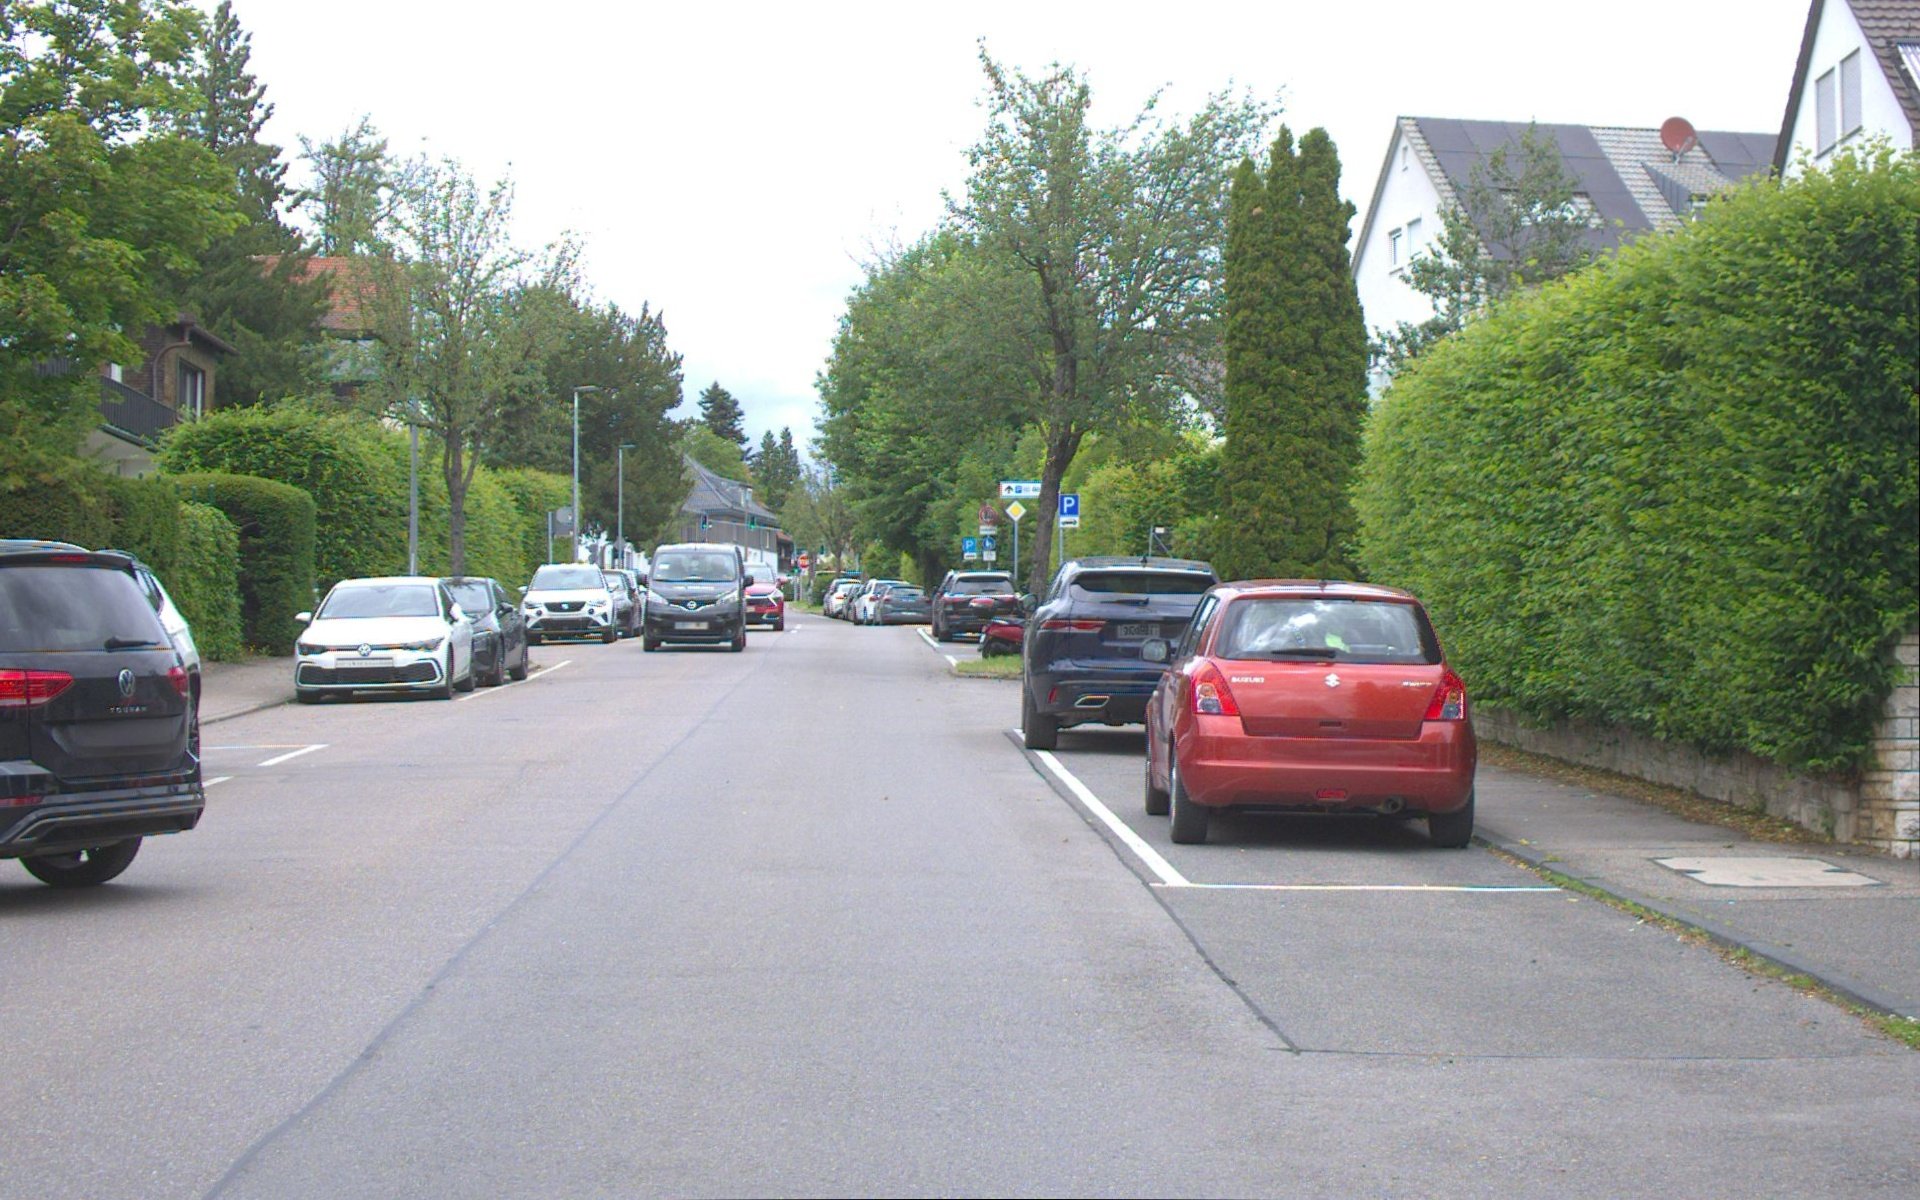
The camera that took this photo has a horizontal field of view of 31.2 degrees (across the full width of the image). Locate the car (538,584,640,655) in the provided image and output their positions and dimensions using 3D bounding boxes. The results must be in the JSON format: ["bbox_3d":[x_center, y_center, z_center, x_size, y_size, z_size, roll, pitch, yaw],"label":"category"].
[{"bbox_3d":[-7.697,0.425,71.587,1.762,1.383,4.000,-2,-1,-2],"label":"car"}]

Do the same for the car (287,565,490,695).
[{"bbox_3d":[-6.771,0.319,41.116,1.837,1.417,4.409,-1,1,-2],"label":"car"}]

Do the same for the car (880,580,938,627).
[{"bbox_3d":[-1.739,0.114,116.228,1.664,1.495,3.468,1,1,-6],"label":"car"}]

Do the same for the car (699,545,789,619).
[{"bbox_3d":[-5.097,-0.439,81.589,1.941,1.641,4.258,-2,1,-1],"label":"car"}]

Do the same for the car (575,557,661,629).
[{"bbox_3d":[-7.610,-0.176,76.766,1.630,1.518,3.638,-2,1,-2],"label":"car"}]

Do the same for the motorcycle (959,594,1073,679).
[{"bbox_3d":[0.903,0.577,55.190,1.863,1.342,0.599,0,1,-37],"label":"motorcycle"}]

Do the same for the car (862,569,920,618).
[{"bbox_3d":[-2.436,-0.243,120.671,1.713,1.652,3.623,1,1,-6],"label":"car"}]

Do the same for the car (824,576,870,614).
[{"bbox_3d":[-4.640,-0.210,140.638,1.664,1.495,3.468,1,1,-6],"label":"car"}]

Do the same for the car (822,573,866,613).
[{"bbox_3d":[-4.975,-0.300,147.364,1.664,1.662,3.468,1,1,-6],"label":"car"}]

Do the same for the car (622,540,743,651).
[{"bbox_3d":[-4.767,-0.099,59.562,1.885,1.844,4.402,-1,1,-2],"label":"car"}]

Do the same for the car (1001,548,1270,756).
[{"bbox_3d":[1.455,0.411,30.220,1.993,1.612,4.513,2,0,-1],"label":"car"}]

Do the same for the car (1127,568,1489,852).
[{"bbox_3d":[1.968,0.574,20.409,1.661,1.503,3.758,0,1,-2],"label":"car"}]

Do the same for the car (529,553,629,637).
[{"bbox_3d":[-7.252,-0.124,65.741,1.722,1.535,4.001,-1,1,-4],"label":"car"}]

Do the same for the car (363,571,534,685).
[{"bbox_3d":[-6.758,0.346,45.750,1.727,1.418,4.079,-1,0,-1],"label":"car"}]

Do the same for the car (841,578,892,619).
[{"bbox_3d":[-3.563,-0.068,130.120,1.664,1.495,3.468,1,1,-6],"label":"car"}]

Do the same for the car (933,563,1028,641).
[{"bbox_3d":[0.404,0.011,72.711,1.882,1.528,4.475,2,1,-1],"label":"car"}]

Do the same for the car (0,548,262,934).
[{"bbox_3d":[-5.600,0.564,15.944,4.301,1.606,1.852,1,0,21],"label":"car"}]
